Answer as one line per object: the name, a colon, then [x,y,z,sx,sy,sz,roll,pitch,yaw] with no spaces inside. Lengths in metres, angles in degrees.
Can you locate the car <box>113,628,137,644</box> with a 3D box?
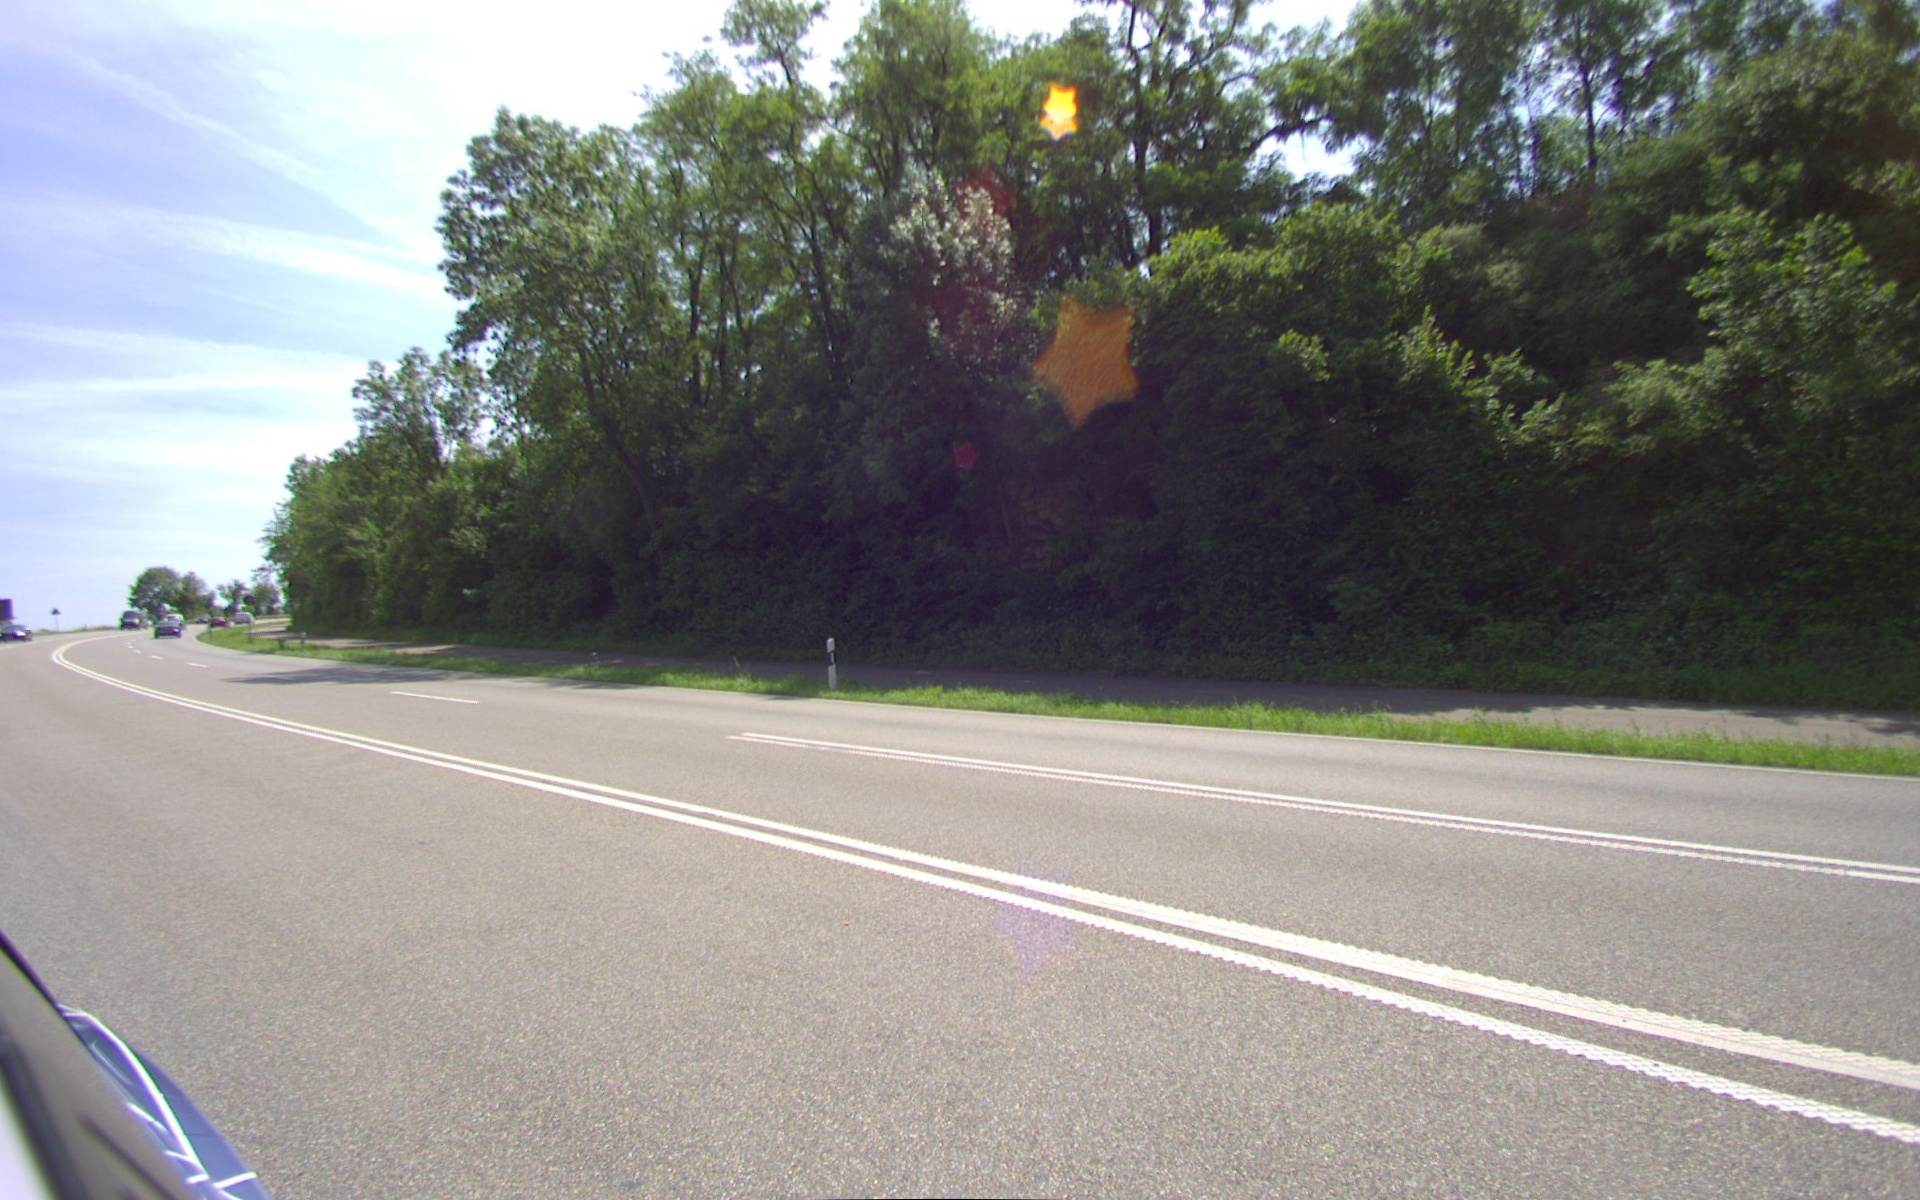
car: [-109.786,4.655,133.055,1.966,2.029,4.011,0,-1,-33]

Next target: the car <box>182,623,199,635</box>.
car: [-130.249,4.868,171.377,1.737,1.874,3.822,0,0,-28]

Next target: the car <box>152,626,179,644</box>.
car: [-66.579,2.904,84.848,1.779,1.398,3.878,0,-1,-38]

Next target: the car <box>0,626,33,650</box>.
car: [-75.719,3.022,80.934,1.967,1.741,4.009,0,0,-37]

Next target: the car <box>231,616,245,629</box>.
car: [-112.769,3.511,158.117,1.788,2.029,3.880,0,0,-35]

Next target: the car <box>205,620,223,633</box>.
car: [-99.458,3.545,134.928,1.967,1.687,4.009,0,0,-36]
